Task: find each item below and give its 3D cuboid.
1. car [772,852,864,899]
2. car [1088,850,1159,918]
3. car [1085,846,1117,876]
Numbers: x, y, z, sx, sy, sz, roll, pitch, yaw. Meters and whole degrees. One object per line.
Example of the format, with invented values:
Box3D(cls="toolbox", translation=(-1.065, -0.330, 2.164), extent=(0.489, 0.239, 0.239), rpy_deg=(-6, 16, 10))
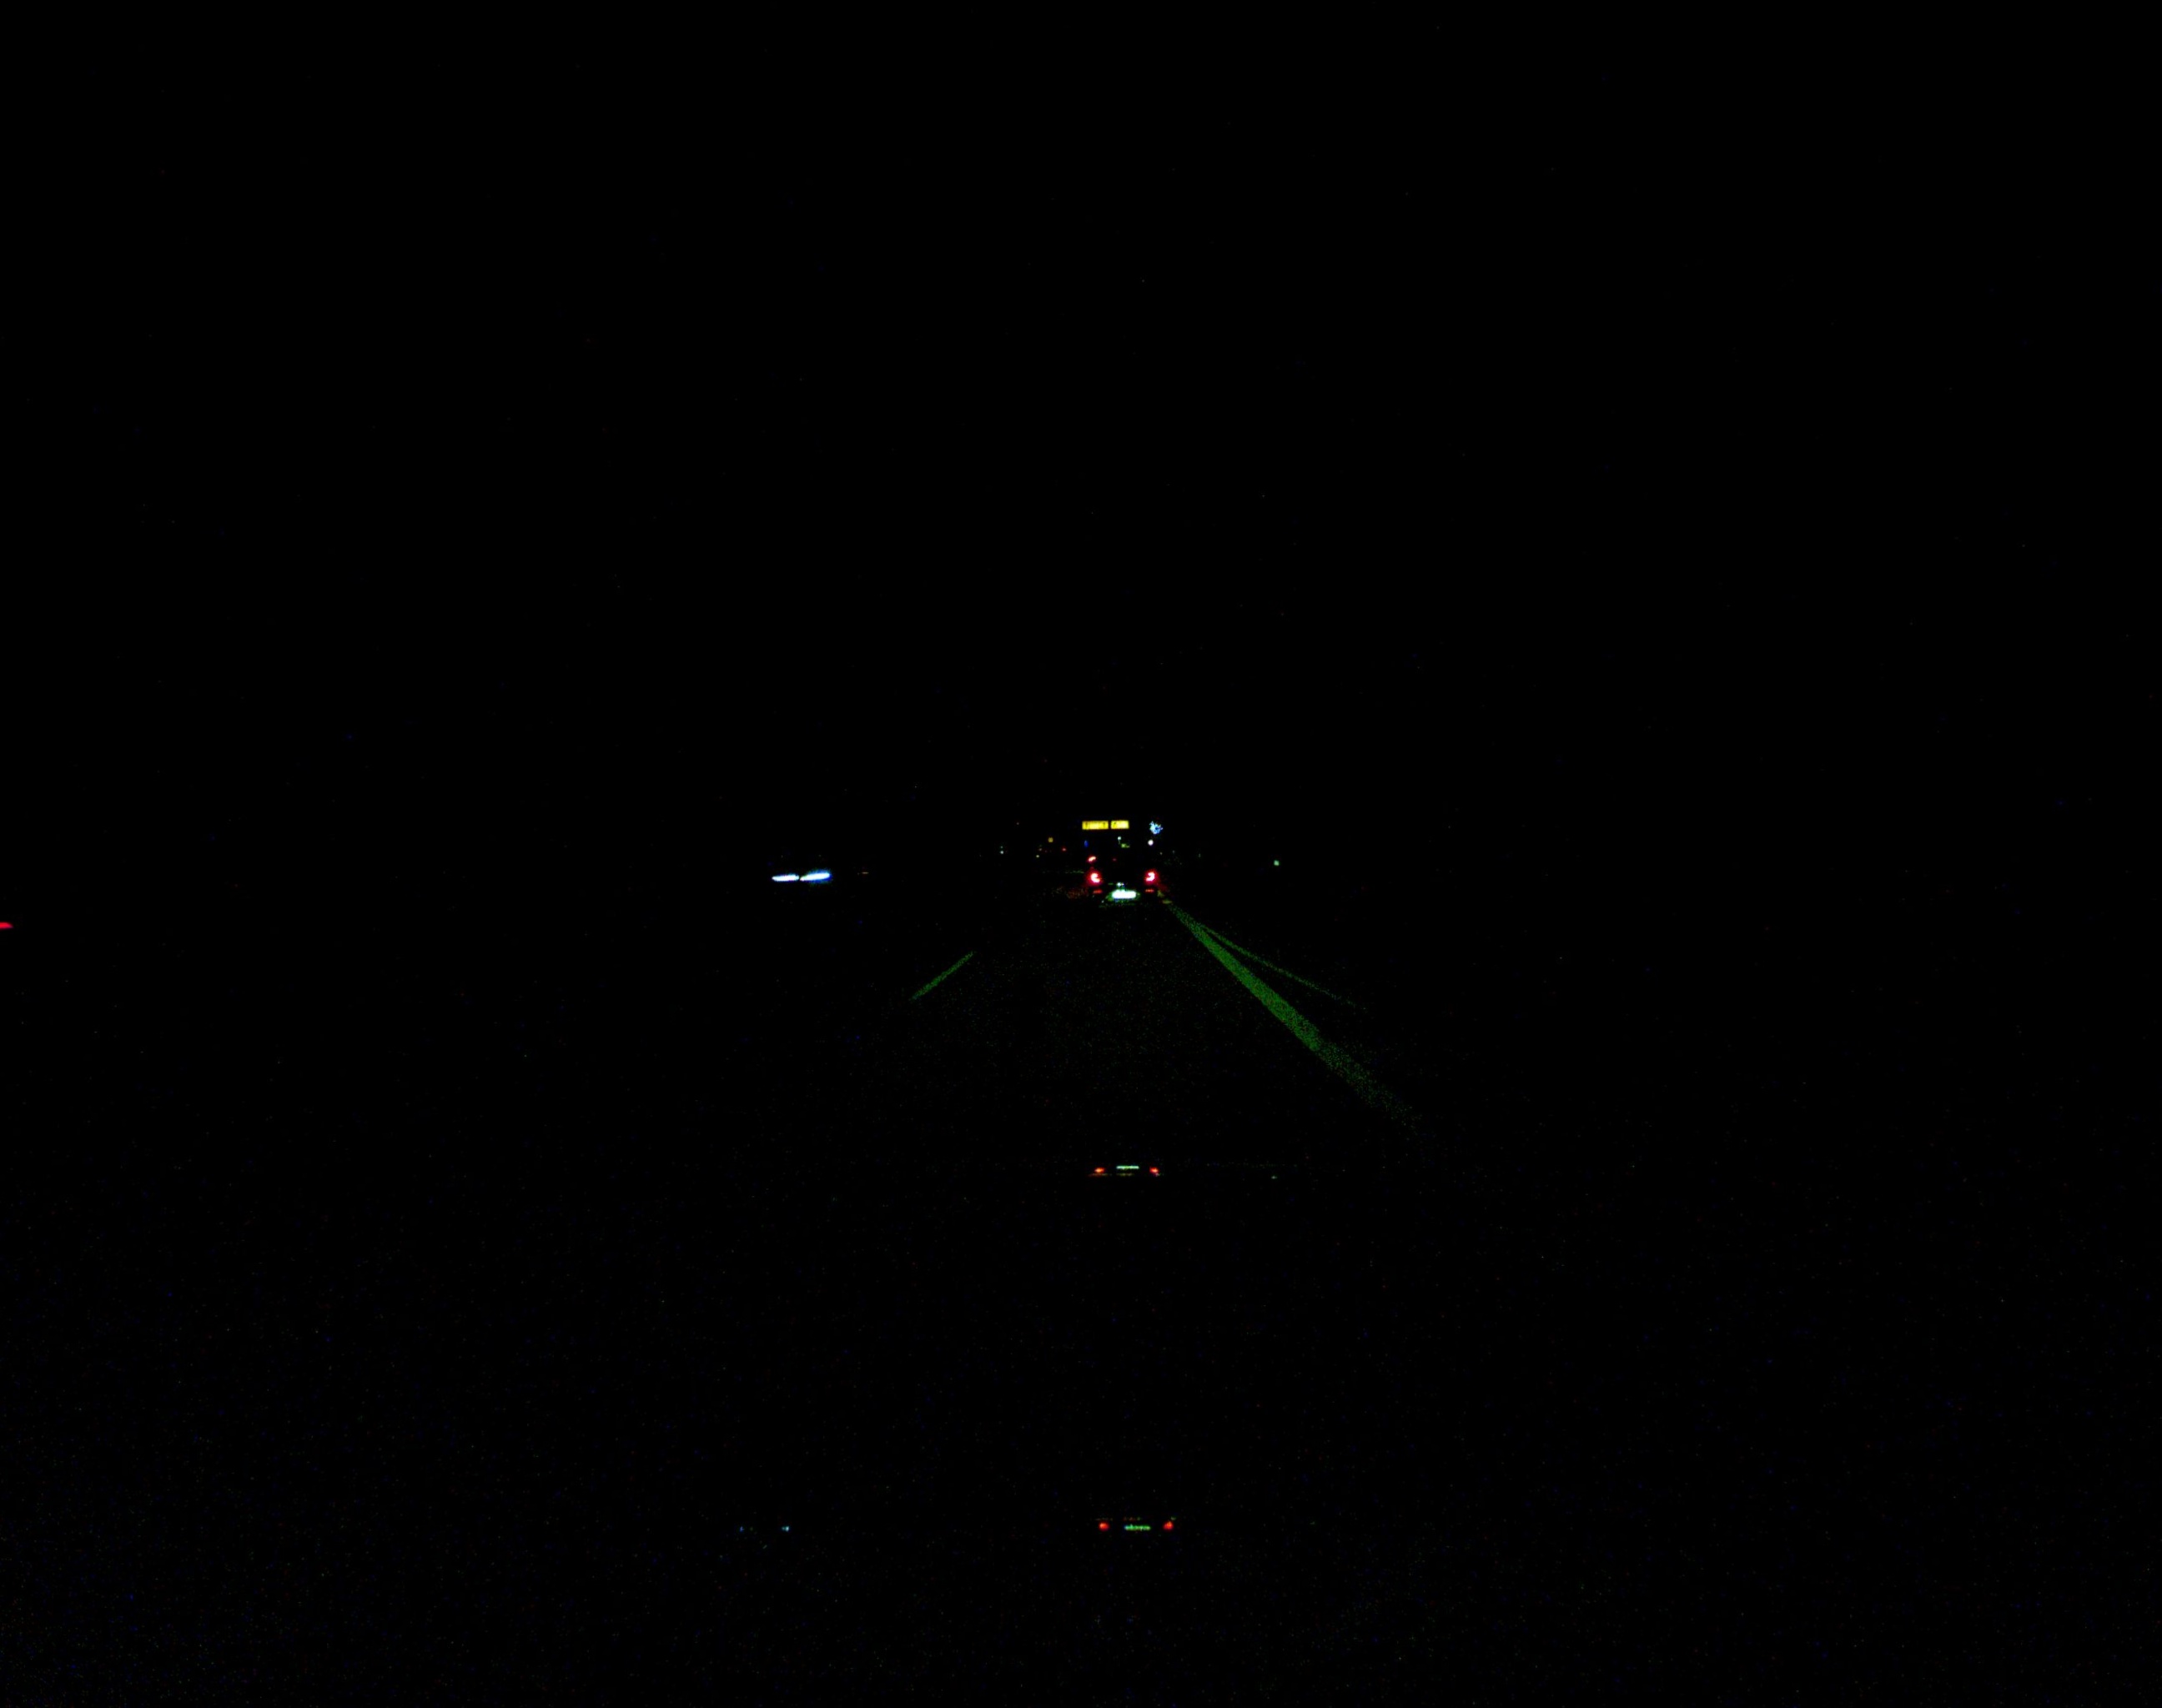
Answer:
Box3D(cls="car", translation=(-11.150, 0.847, 34.995), extent=(1.949, 1.733, 5.084), rpy_deg=(-3, 0, 3))
Box3D(cls="car", translation=(0.998, 0.678, 20.695), extent=(1.583, 1.508, 4.000), rpy_deg=(-1, 0, 0))
Box3D(cls="car", translation=(1.262, 0.404, 50.576), extent=(1.899, 1.698, 4.002), rpy_deg=(-1, 1, 1))
